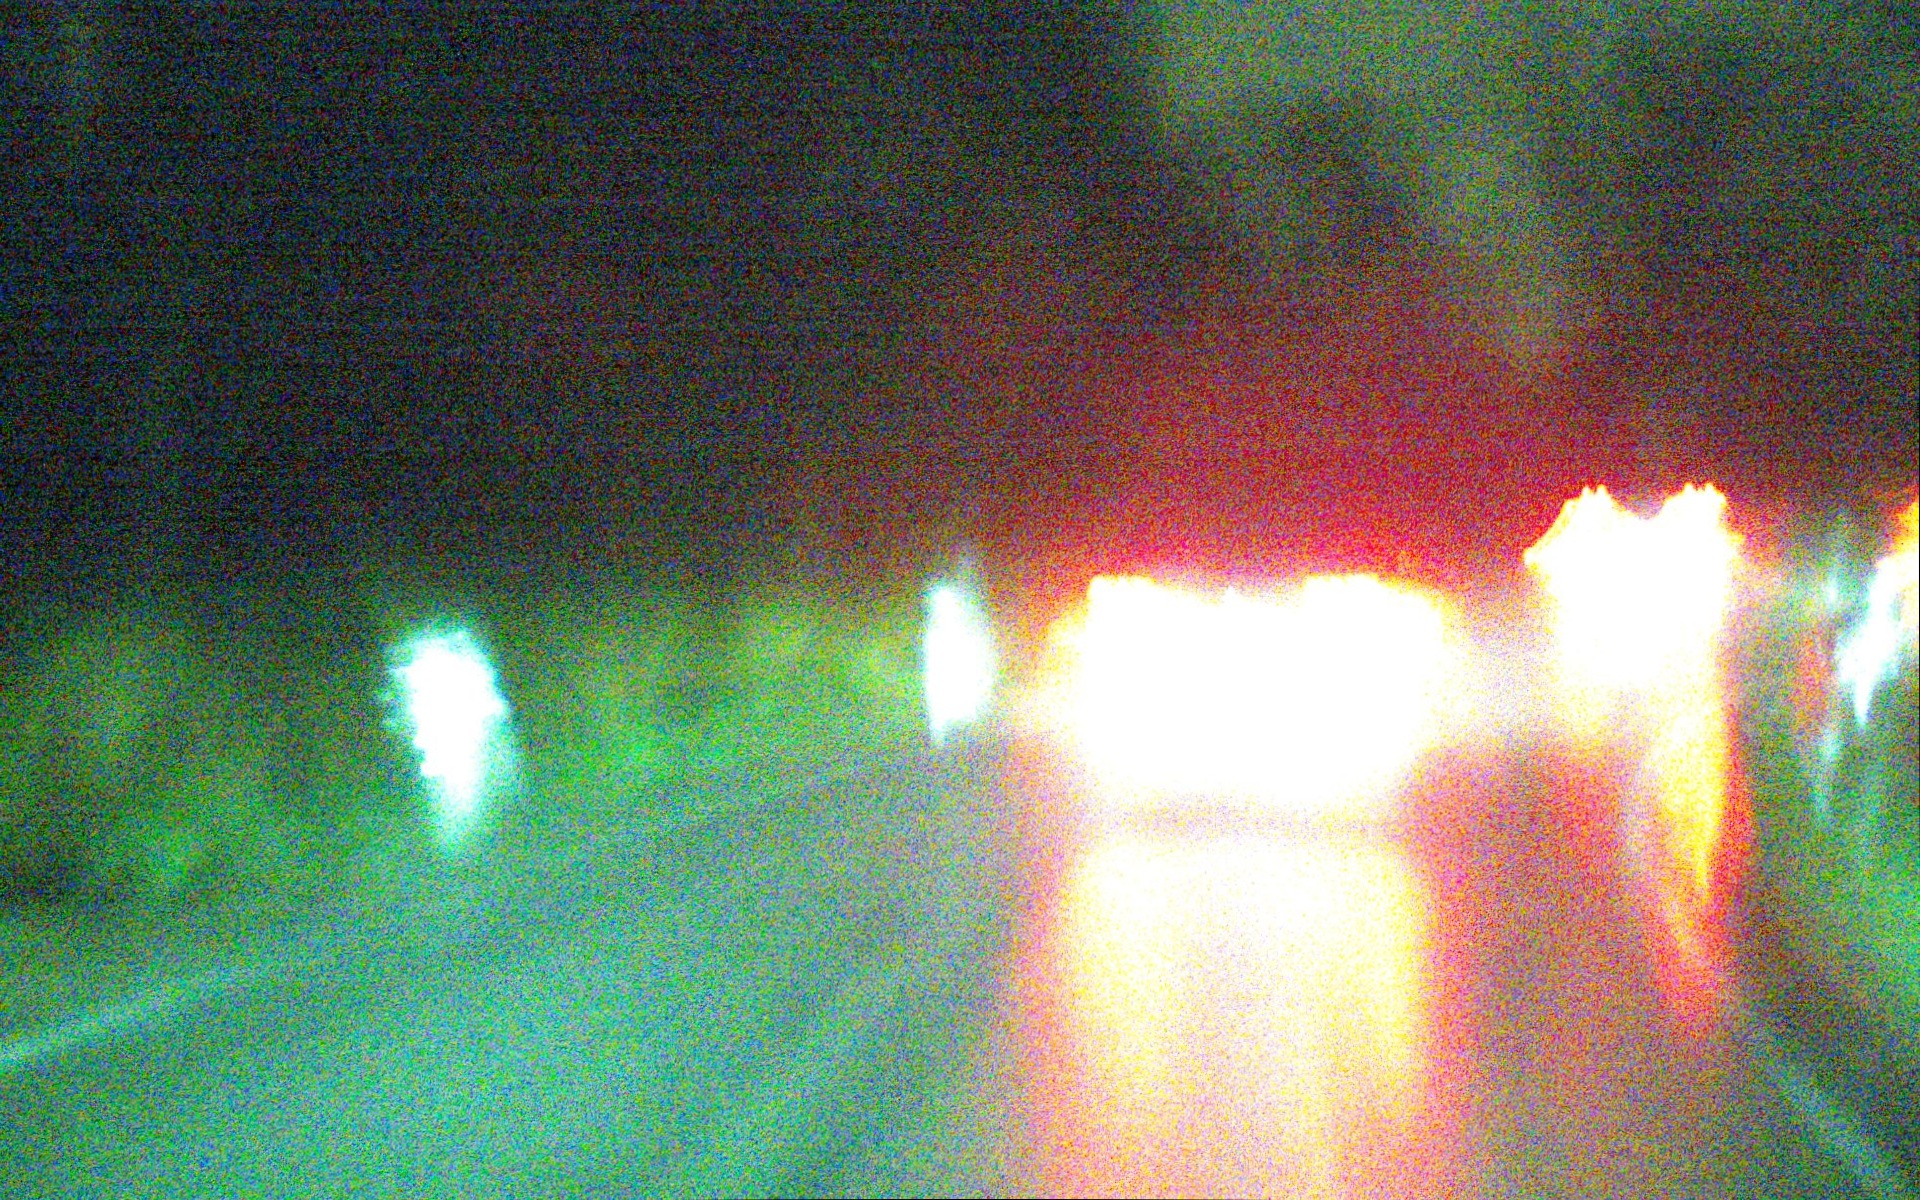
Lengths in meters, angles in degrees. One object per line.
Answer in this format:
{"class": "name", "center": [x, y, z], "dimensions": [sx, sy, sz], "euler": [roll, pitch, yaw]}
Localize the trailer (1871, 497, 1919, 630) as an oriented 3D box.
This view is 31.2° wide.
{"class": "trailer", "center": [16.933, -0.551, 57.308], "dimensions": [2.080, 2.007, 10.635], "euler": [-4, -2, 21]}
